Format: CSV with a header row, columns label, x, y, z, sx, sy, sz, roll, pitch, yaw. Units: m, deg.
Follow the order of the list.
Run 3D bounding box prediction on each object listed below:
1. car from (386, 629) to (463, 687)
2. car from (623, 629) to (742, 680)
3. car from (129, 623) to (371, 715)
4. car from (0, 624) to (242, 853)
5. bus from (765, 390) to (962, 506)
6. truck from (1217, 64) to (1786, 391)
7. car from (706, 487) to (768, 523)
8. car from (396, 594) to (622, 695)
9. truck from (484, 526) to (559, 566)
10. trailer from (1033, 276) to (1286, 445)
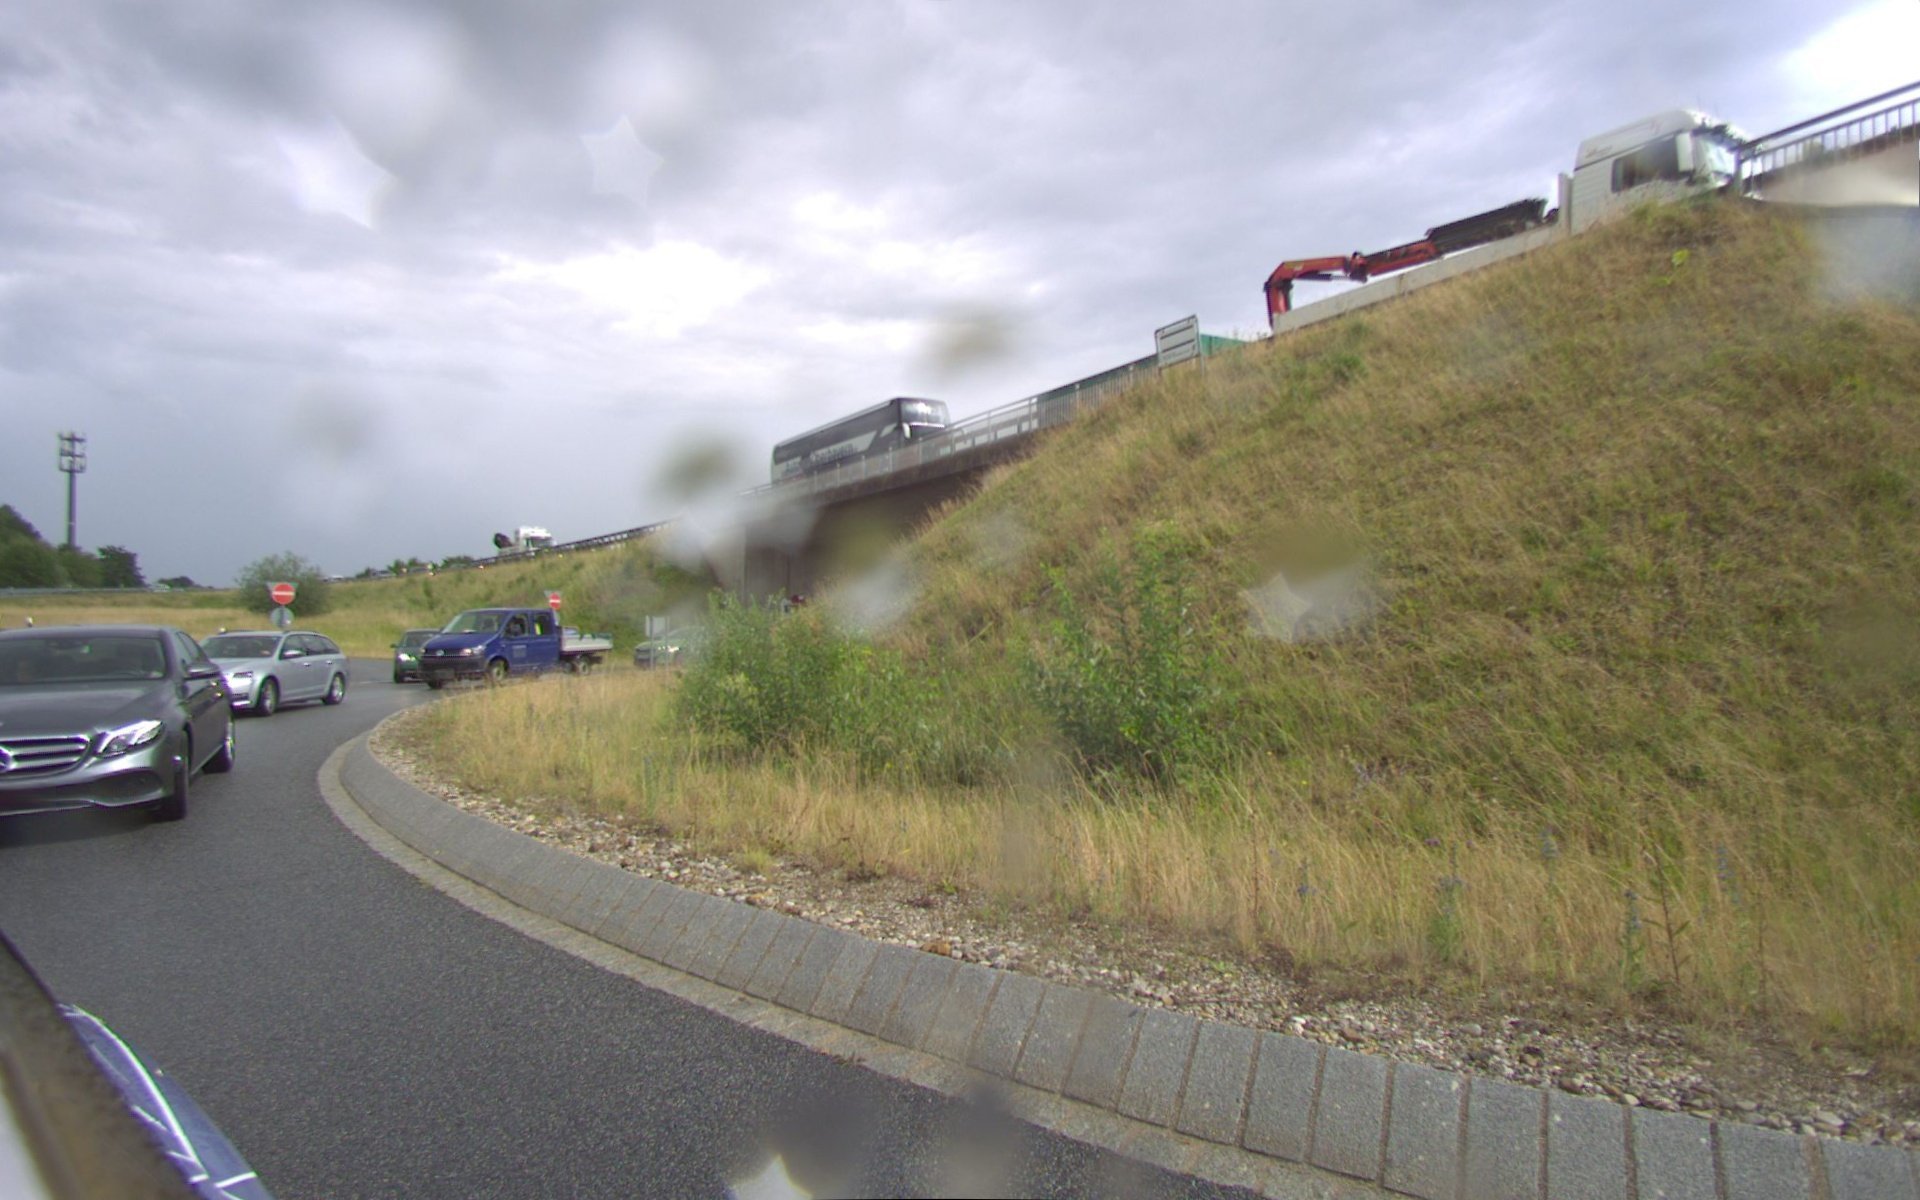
label,x,y,z,sx,sy,sz,roll,pitch,yaw
car,-15.045,1.577,28.331,1.744,1.496,3.845,1,-2,-30
car,-9.043,1.748,33.262,1.565,1.548,3.892,-1,-2,27
car,-12.251,1.211,17.851,1.769,1.409,4.358,1,-4,-10
car,-7.179,0.947,8.221,1.741,1.402,4.605,-1,-2,-30
bus,-4.900,-6.520,45.907,2.569,3.103,14.505,-1,0,-32
truck,10.106,-6.907,21.065,2.169,2.895,10.857,-1,0,-31
car,-13.113,-5.561,59.339,1.687,1.536,4.504,-12,6,-35
car,-11.190,1.020,25.720,1.878,1.929,5.651,-3,3,18
truck,-42.015,-5.071,96.853,9.279,3.218,3.117,-1,0,43
trailer,5.381,-6.581,29.267,2.150,2.893,8.357,-1,0,-30
